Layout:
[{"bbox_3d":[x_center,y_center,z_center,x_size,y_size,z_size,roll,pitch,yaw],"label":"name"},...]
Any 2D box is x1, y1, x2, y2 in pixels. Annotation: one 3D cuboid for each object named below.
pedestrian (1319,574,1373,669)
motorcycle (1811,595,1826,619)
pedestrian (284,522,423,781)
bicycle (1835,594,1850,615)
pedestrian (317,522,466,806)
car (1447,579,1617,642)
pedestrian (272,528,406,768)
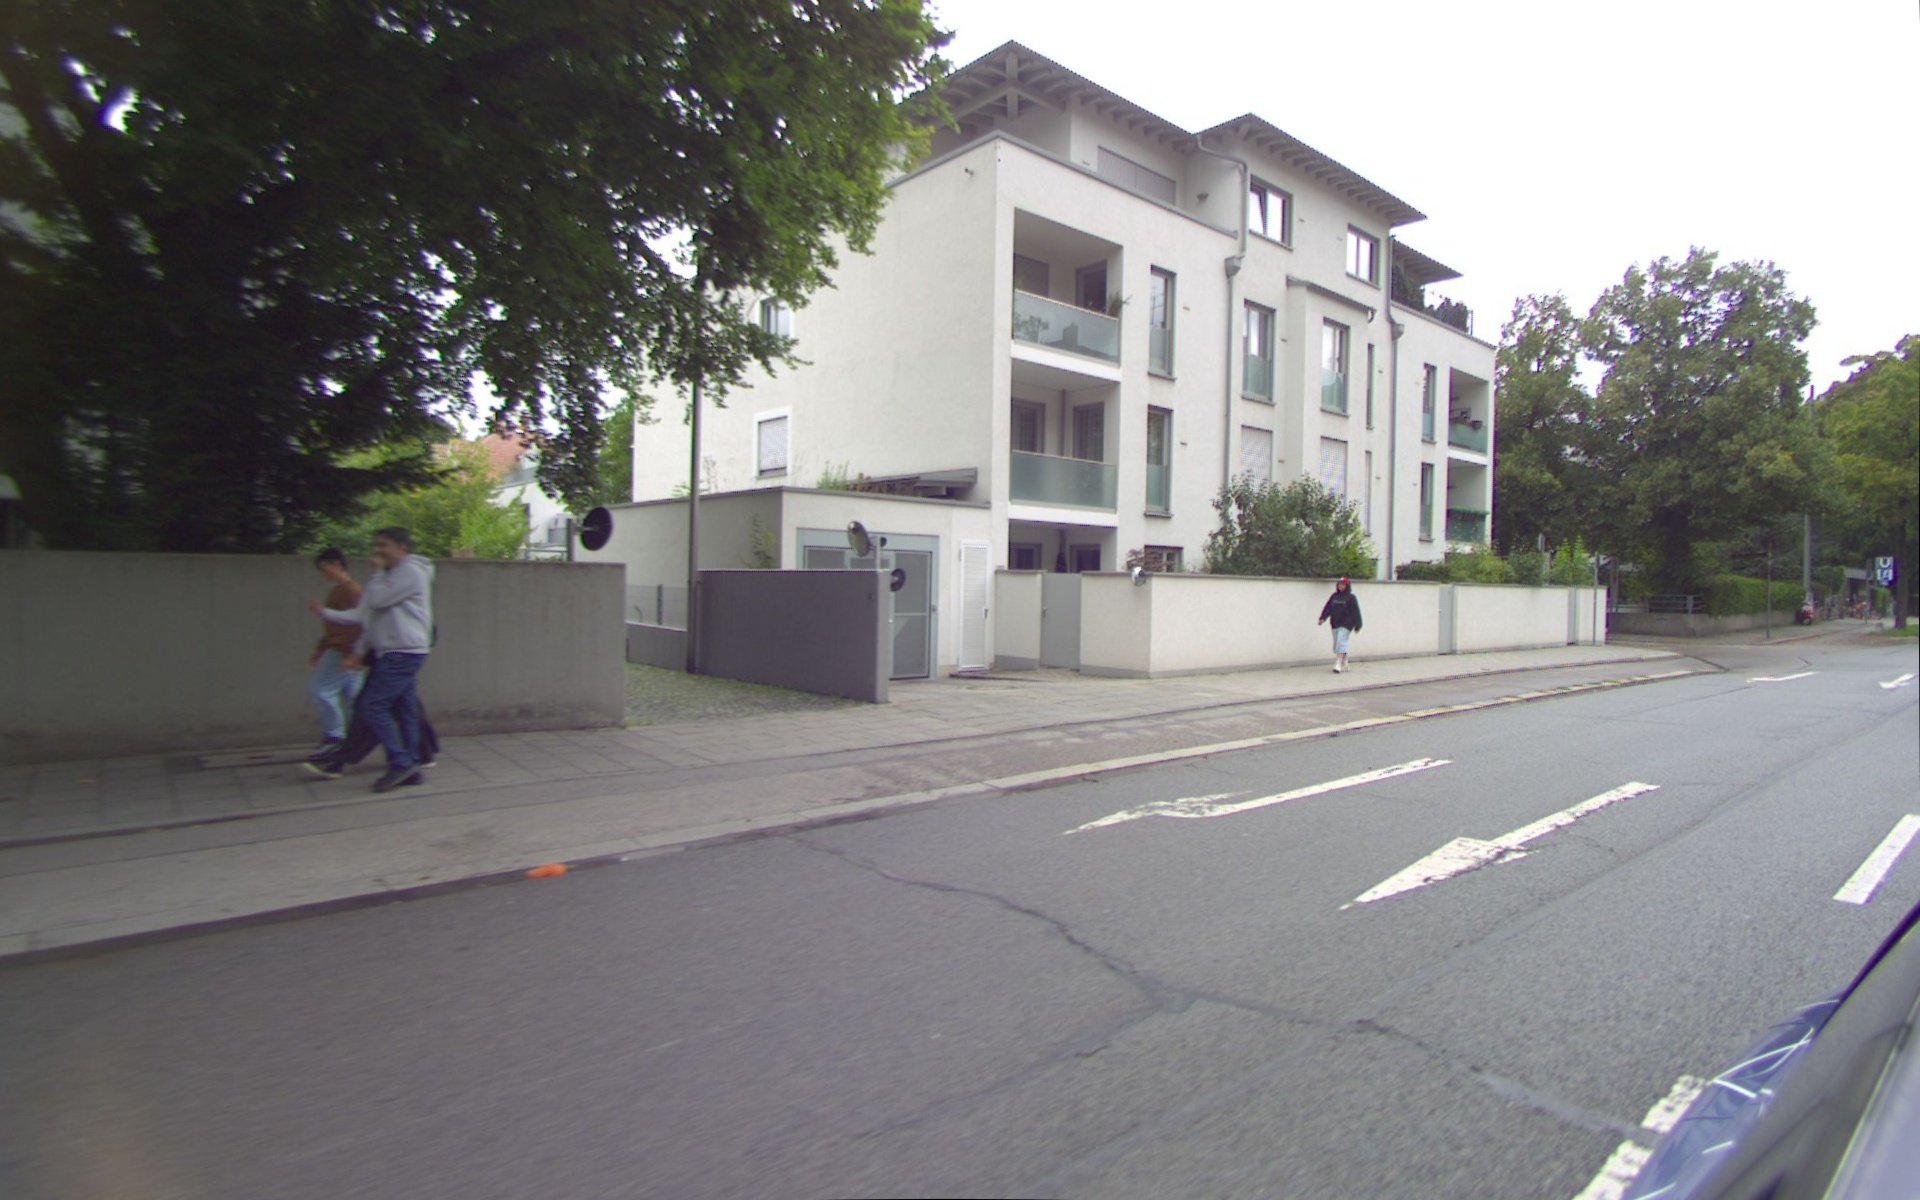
[{"bbox_3d":[6.740,0.356,17.668,0.716,1.600,0.529,0,3,-42],"label":"pedestrian"},{"bbox_3d":[42.092,0.320,49.643,0.494,1.156,1.610,1,1,38],"label":"motorcycle"},{"bbox_3d":[-4.299,0.322,7.165,0.716,1.713,0.667,0,3,-42],"label":"pedestrian"},{"bbox_3d":[47.593,0.219,54.593,0.488,1.113,1.610,1,1,38],"label":"bicycle"},{"bbox_3d":[-3.766,0.375,6.699,0.716,1.743,0.667,0,3,-42],"label":"pedestrian"},{"bbox_3d":[19.512,0.272,34.711,1.841,1.947,4.733,-1,2,-37],"label":"car"},{"bbox_3d":[-4.781,0.330,7.787,0.753,1.726,0.667,0,3,-42],"label":"pedestrian"}]
